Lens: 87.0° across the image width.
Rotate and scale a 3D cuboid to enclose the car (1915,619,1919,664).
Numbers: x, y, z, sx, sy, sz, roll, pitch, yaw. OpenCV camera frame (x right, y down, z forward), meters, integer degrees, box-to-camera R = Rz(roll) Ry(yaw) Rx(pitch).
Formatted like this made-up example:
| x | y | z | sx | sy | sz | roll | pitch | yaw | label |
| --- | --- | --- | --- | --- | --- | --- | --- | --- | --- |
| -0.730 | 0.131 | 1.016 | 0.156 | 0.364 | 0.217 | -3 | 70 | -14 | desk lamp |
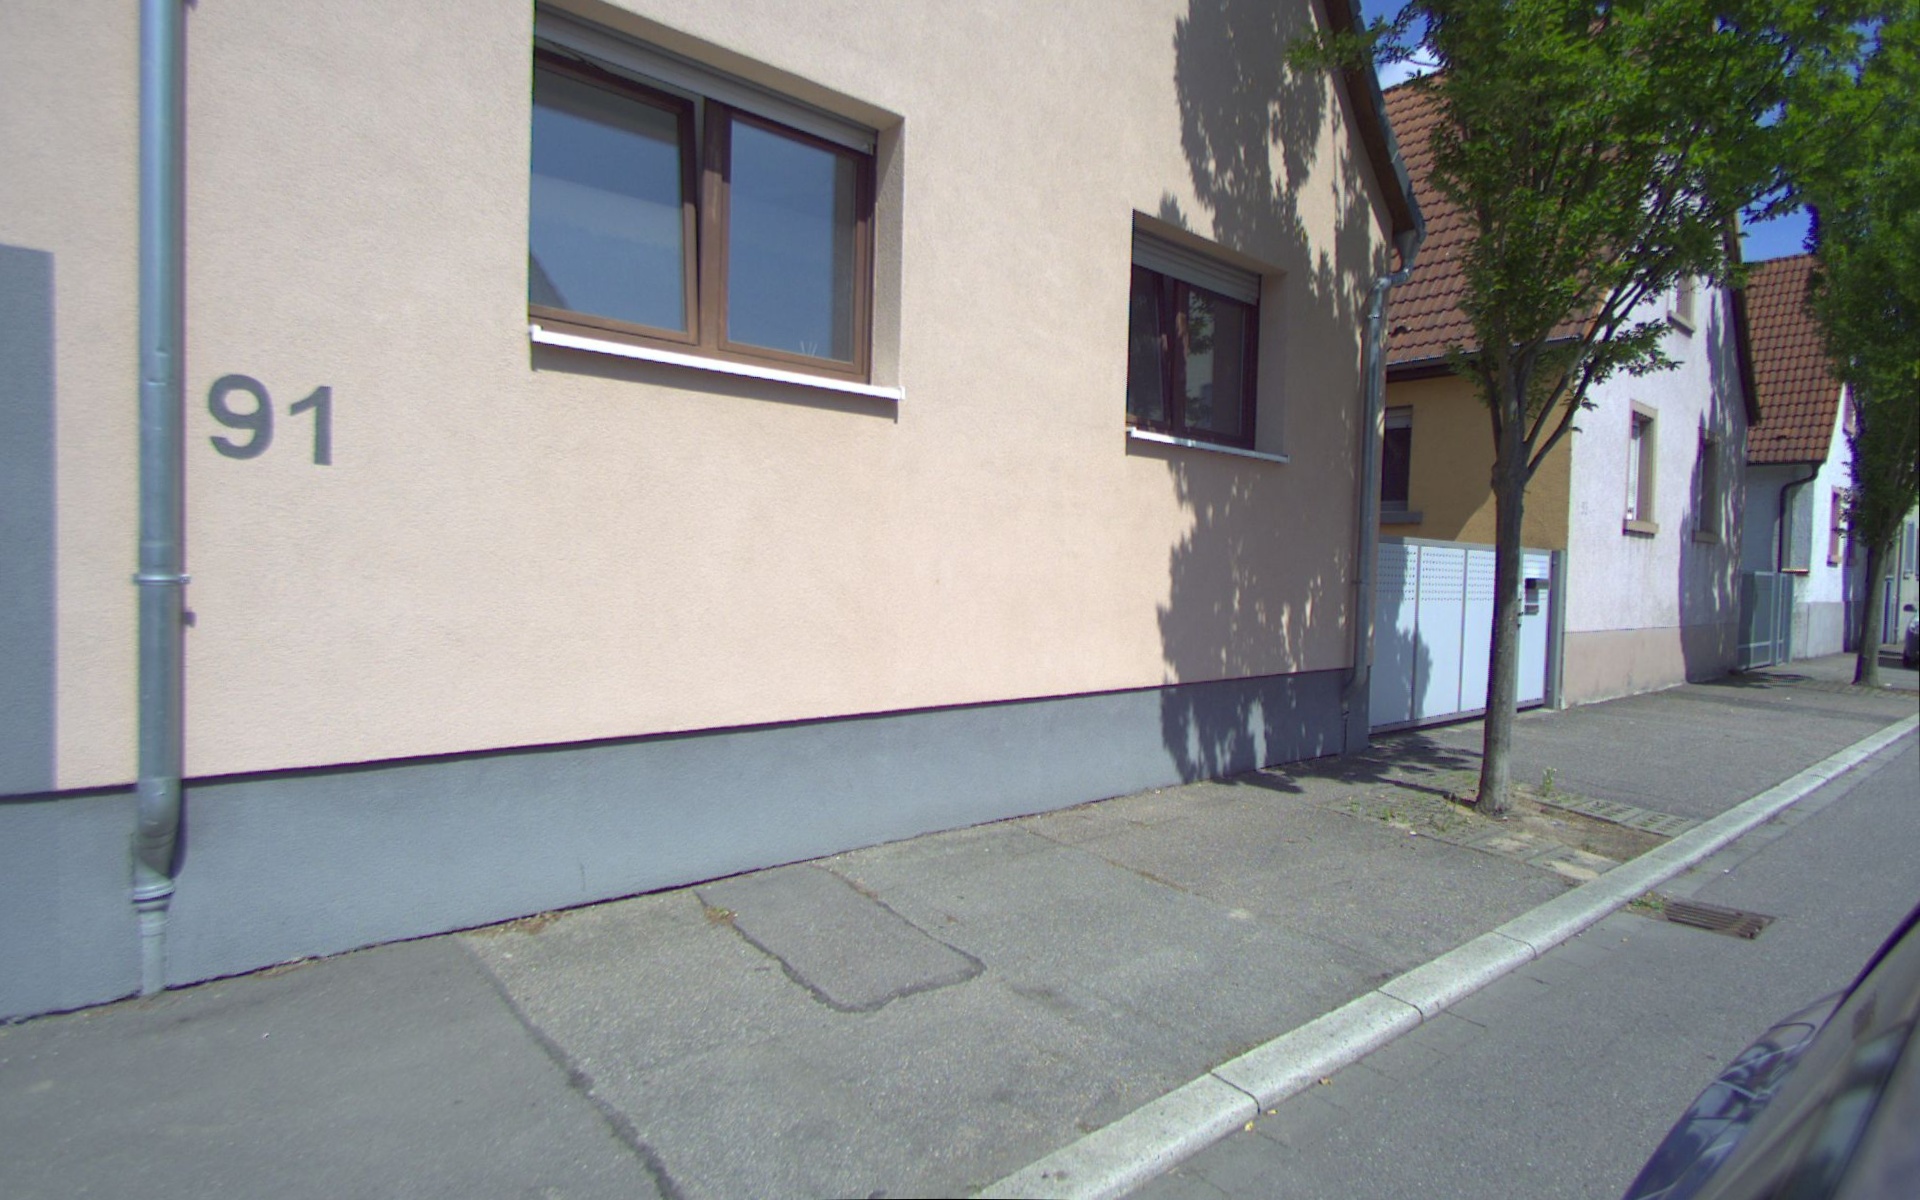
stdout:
| x | y | z | sx | sy | sz | roll | pitch | yaw | label |
| --- | --- | --- | --- | --- | --- | --- | --- | --- | --- |
| 20.239 | 0.331 | 19.713 | 4.679 | 1.864 | 1.693 | 0 | 5 | -40 | car |
